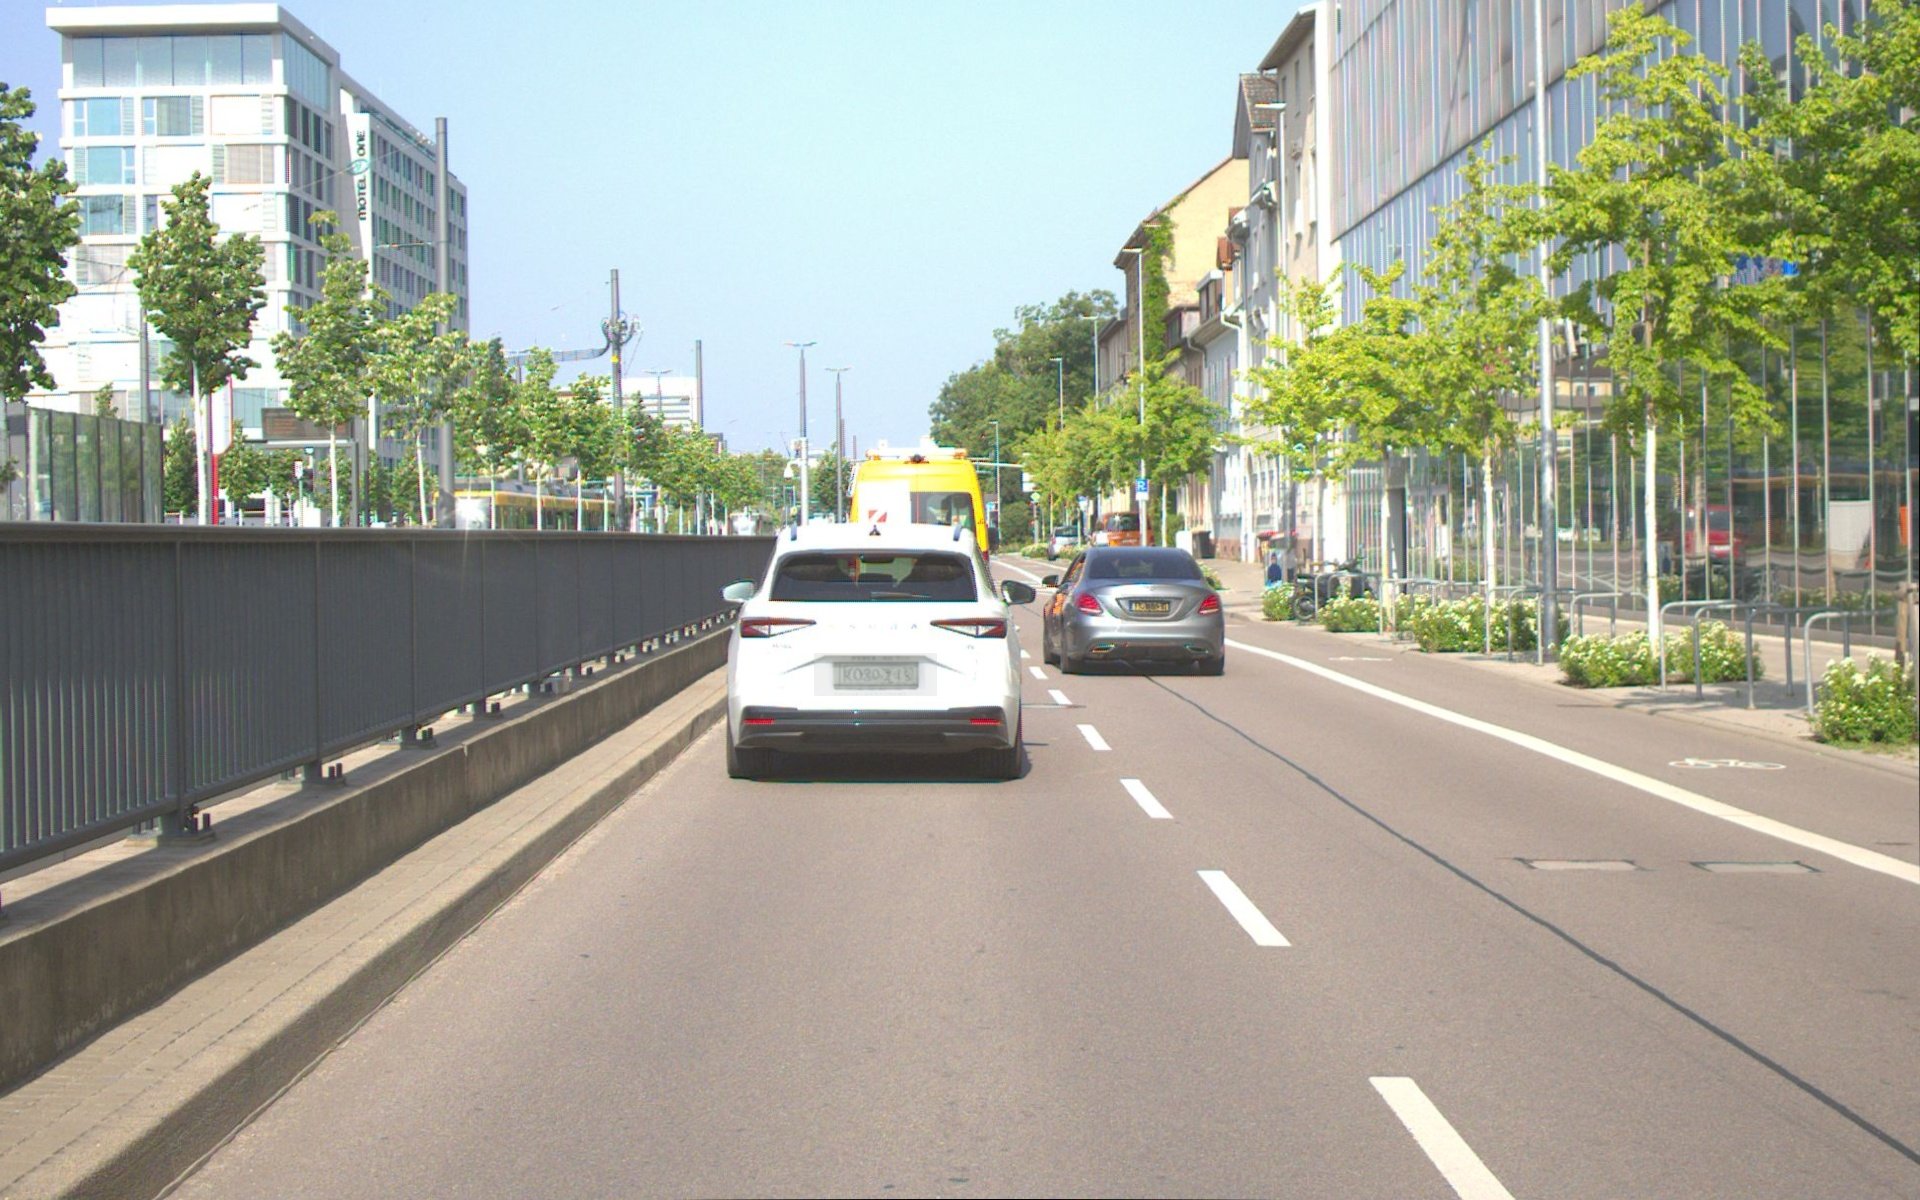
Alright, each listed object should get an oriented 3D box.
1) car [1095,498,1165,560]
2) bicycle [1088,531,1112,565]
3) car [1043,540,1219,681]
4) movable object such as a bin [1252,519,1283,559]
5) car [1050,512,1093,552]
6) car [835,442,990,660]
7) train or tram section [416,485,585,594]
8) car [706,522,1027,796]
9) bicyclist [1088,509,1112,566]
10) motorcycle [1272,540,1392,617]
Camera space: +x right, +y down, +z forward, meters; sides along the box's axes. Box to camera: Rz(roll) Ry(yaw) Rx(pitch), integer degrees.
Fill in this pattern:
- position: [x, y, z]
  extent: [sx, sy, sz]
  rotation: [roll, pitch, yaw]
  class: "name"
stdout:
- position: [5.744, -2.445, 116.705]
  extent: [2.063, 2.006, 4.589]
  rotation: [-1, 2, -1]
  class: "car"
- position: [3.911, -1.464, 96.126]
  extent: [0.655, 0.935, 1.517]
  rotation: [0, 1, 2]
  class: "bicycle"
- position: [1.888, 0.076, 38.947]
  extent: [1.760, 1.431, 4.115]
  rotation: [1, 2, 0]
  class: "car"
- position: [9.129, -1.825, 102.075]
  extent: [0.669, 1.148, 0.617]
  rotation: [-3, 5, -44]
  class: "movable object such as a bin"
- position: [5.181, -3.191, 160.186]
  extent: [1.812, 1.806, 3.836]
  rotation: [0, 2, -1]
  class: "car"
- position: [-0.632, -0.776, 48.187]
  extent: [2.020, 2.786, 5.402]
  rotation: [-1, 3, 0]
  class: "car"
- position: [-16.575, -2.218, 125.778]
  extent: [2.906, 3.663, 18.136]
  rotation: [1, 1, 3]
  class: "train or tram section"
- position: [-0.556, 0.304, 22.253]
  extent: [1.870, 1.569, 4.000]
  rotation: [-1, 2, 0]
  class: "car"
- position: [3.904, -1.756, 95.988]
  extent: [0.639, 1.571, 0.771]
  rotation: [0, 1, 2]
  class: "bicyclist"
- position: [6.731, -0.395, 62.170]
  extent: [1.968, 1.345, 0.868]
  rotation: [-1, 1, -11]
  class: "motorcycle"
